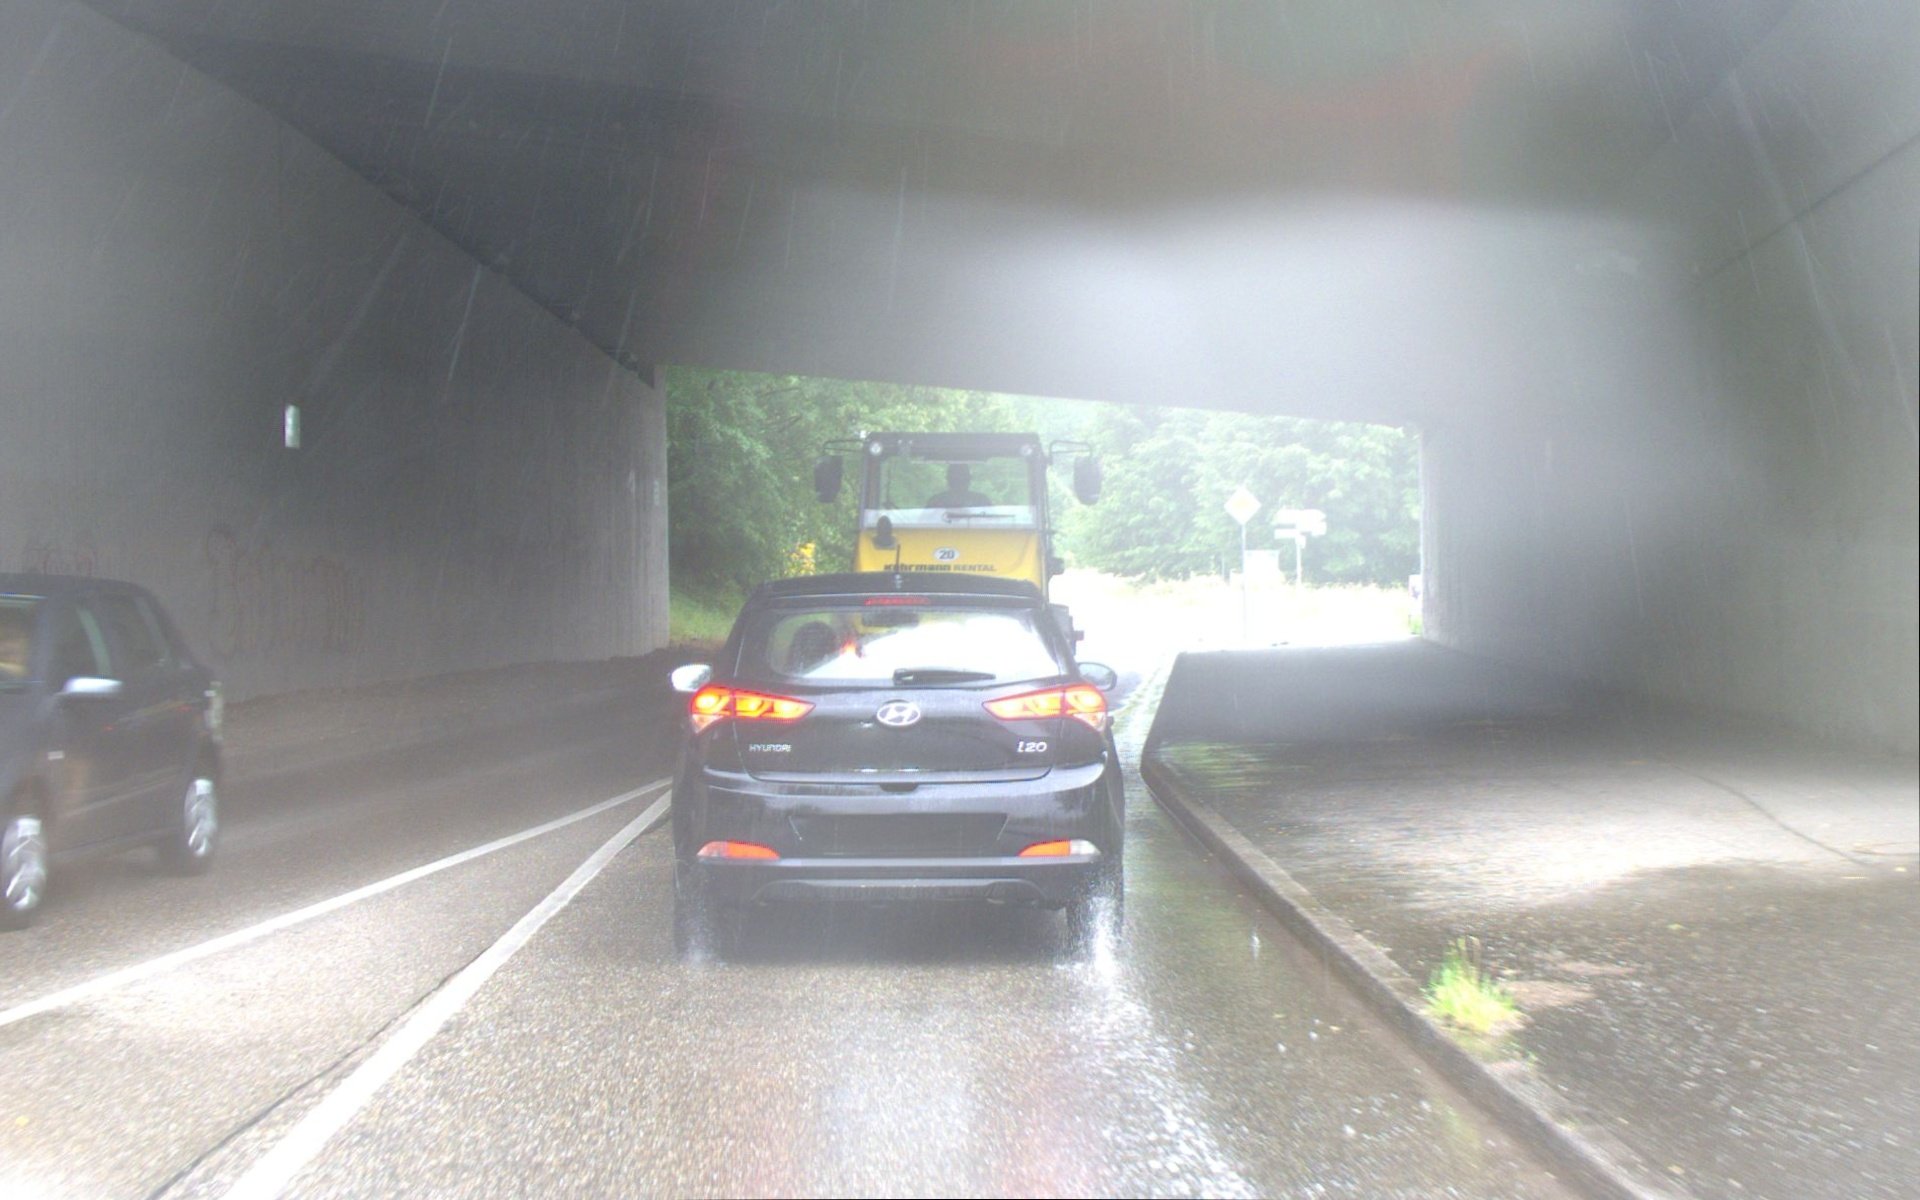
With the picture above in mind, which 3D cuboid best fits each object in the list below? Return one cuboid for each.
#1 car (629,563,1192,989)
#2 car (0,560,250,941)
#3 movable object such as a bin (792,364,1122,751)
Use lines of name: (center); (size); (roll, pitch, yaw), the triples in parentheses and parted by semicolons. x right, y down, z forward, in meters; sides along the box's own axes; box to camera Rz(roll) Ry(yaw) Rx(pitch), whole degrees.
car: (-0.156, 0.621, 14.377); (1.993, 1.482, 4.000); (1, 0, 1)
car: (-4.466, 0.566, 14.847); (1.691, 1.482, 4.072); (0, 0, 4)
movable object such as a bin: (0.017, -0.317, 27.410); (2.246, 2.660, 6.626); (1, 0, 1)
